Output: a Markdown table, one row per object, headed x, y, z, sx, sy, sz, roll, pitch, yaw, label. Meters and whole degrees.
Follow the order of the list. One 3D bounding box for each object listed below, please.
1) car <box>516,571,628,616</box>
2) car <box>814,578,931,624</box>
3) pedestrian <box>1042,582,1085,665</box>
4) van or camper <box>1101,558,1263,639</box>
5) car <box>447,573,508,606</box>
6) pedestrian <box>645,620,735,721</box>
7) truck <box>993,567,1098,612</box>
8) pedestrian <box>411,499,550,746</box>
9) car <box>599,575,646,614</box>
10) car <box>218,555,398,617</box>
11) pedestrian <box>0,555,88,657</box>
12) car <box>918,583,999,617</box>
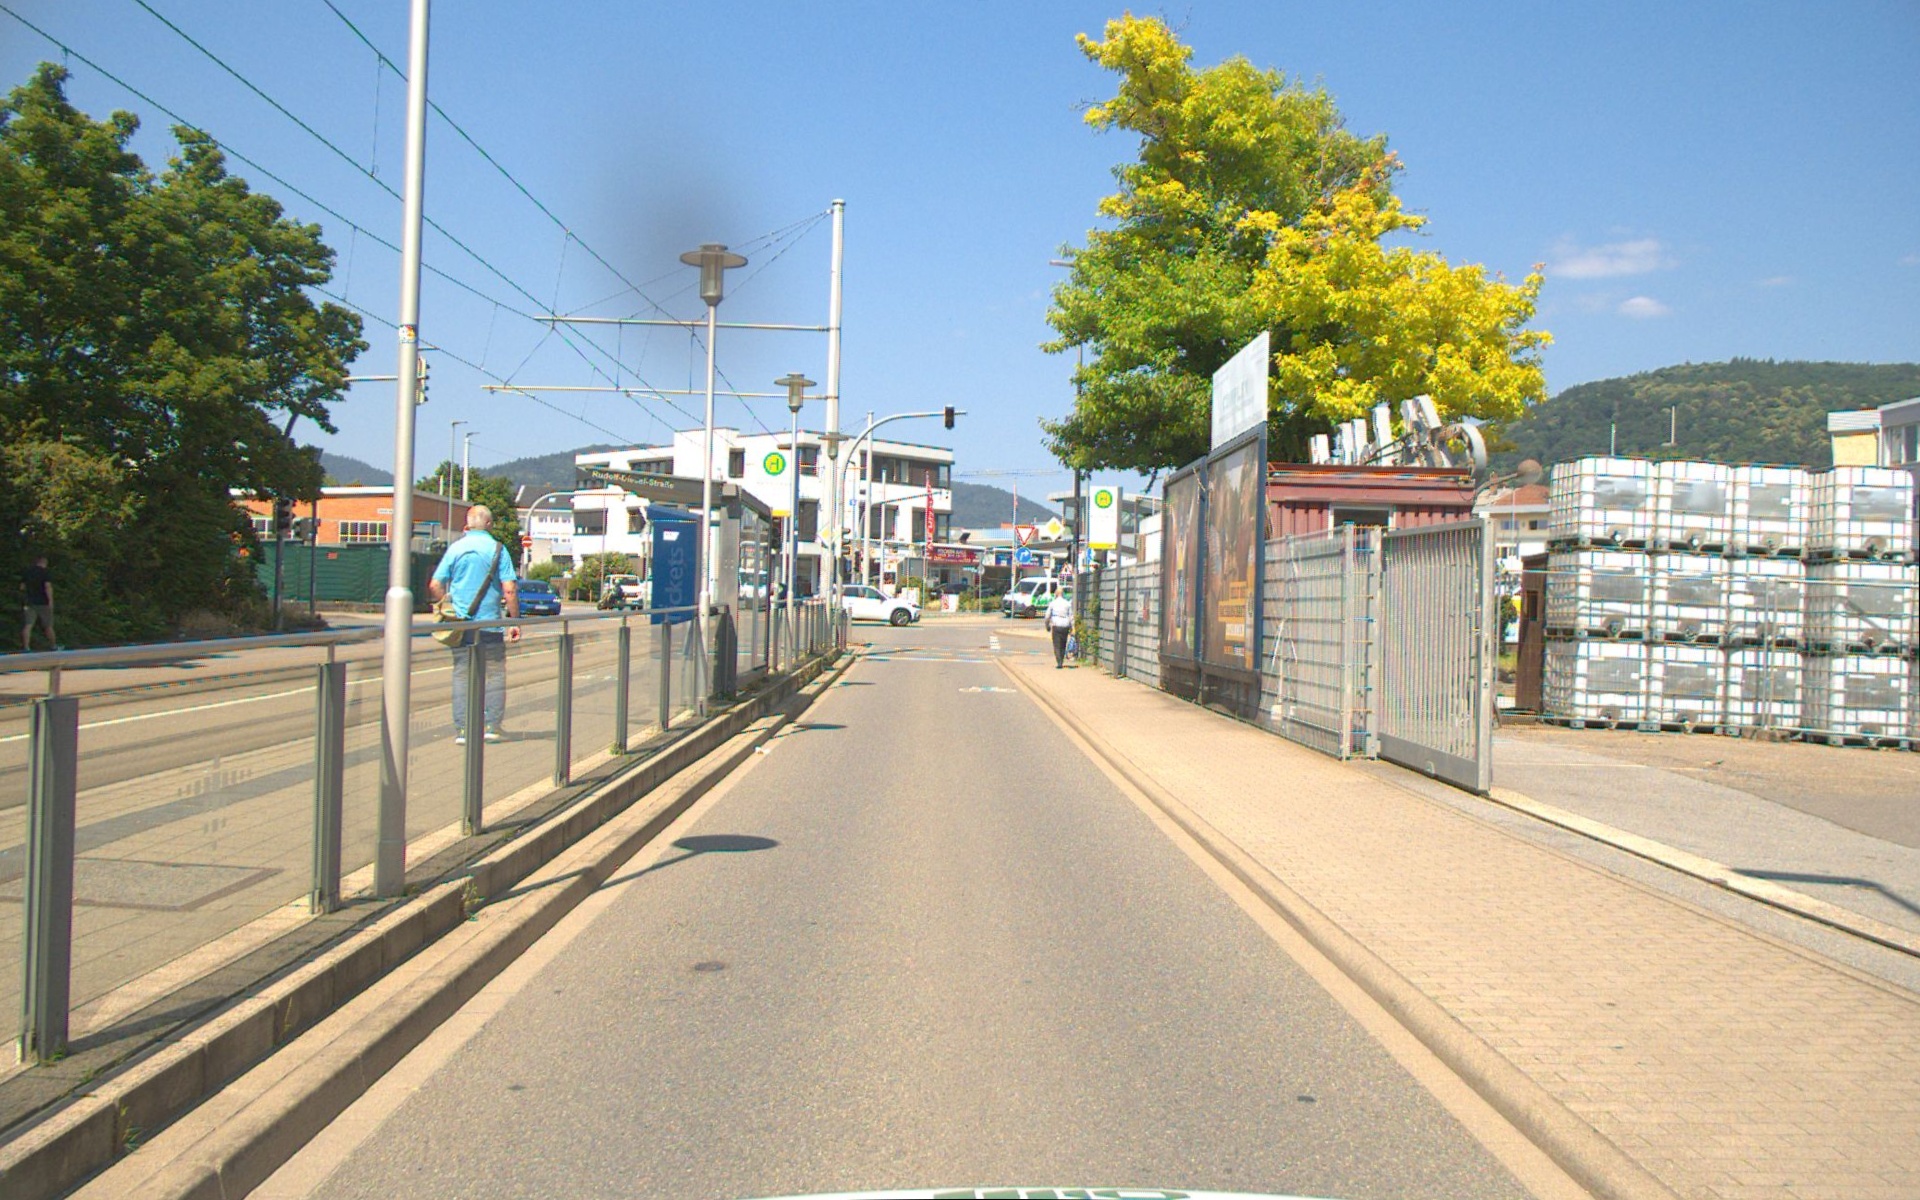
| x | y | z | sx | sy | sz | roll | pitch | yaw | label |
| --- | --- | --- | --- | --- | --- | --- | --- | --- | --- |
| -14.912 | -0.257 | 63.594 | 4.081 | 1.564 | 1.798 | 2 | 0 | -16 | car |
| -3.575 | 0.028 | 66.971 | 4.469 | 1.763 | 1.994 | 1 | 0 | -13 | car |
| 2.186 | 0.491 | 34.952 | 0.796 | 1.729 | 0.887 | 1 | 0 | -3 | pedestrian |
| 8.128 | -0.059 | 60.971 | 5.690 | 2.822 | 2.091 | 1 | 1 | 2 | van or camper |
| -22.971 | -0.503 | 78.715 | 1.885 | 1.467 | 4.553 | 1 | 1 | -28 | car |
| -3.145 | 0.811 | 19.310 | 0.924 | 1.118 | 0.726 | 1 | 0 | -2 | pedestrian |
| 5.060 | -0.601 | 97.095 | 6.328 | 2.378 | 2.178 | 2 | 0 | -40 | truck |
| -3.588 | 0.158 | 12.442 | 0.709 | 1.754 | 0.944 | 3 | 0 | -1 | pedestrian |
| -19.118 | -0.318 | 93.849 | 2.121 | 2.049 | 5.010 | 1 | 0 | -7 | car |
| -20.560 | -0.417 | 52.284 | 2.065 | 1.870 | 4.877 | 1 | 0 | 44 | car |
| -15.773 | 0.098 | 28.491 | 0.868 | 1.699 | 1.160 | 1 | 0 | -2 | pedestrian |
| -0.091 | -0.016 | 104.477 | 5.240 | 2.000 | 1.934 | 2 | 0 | -44 | car |
